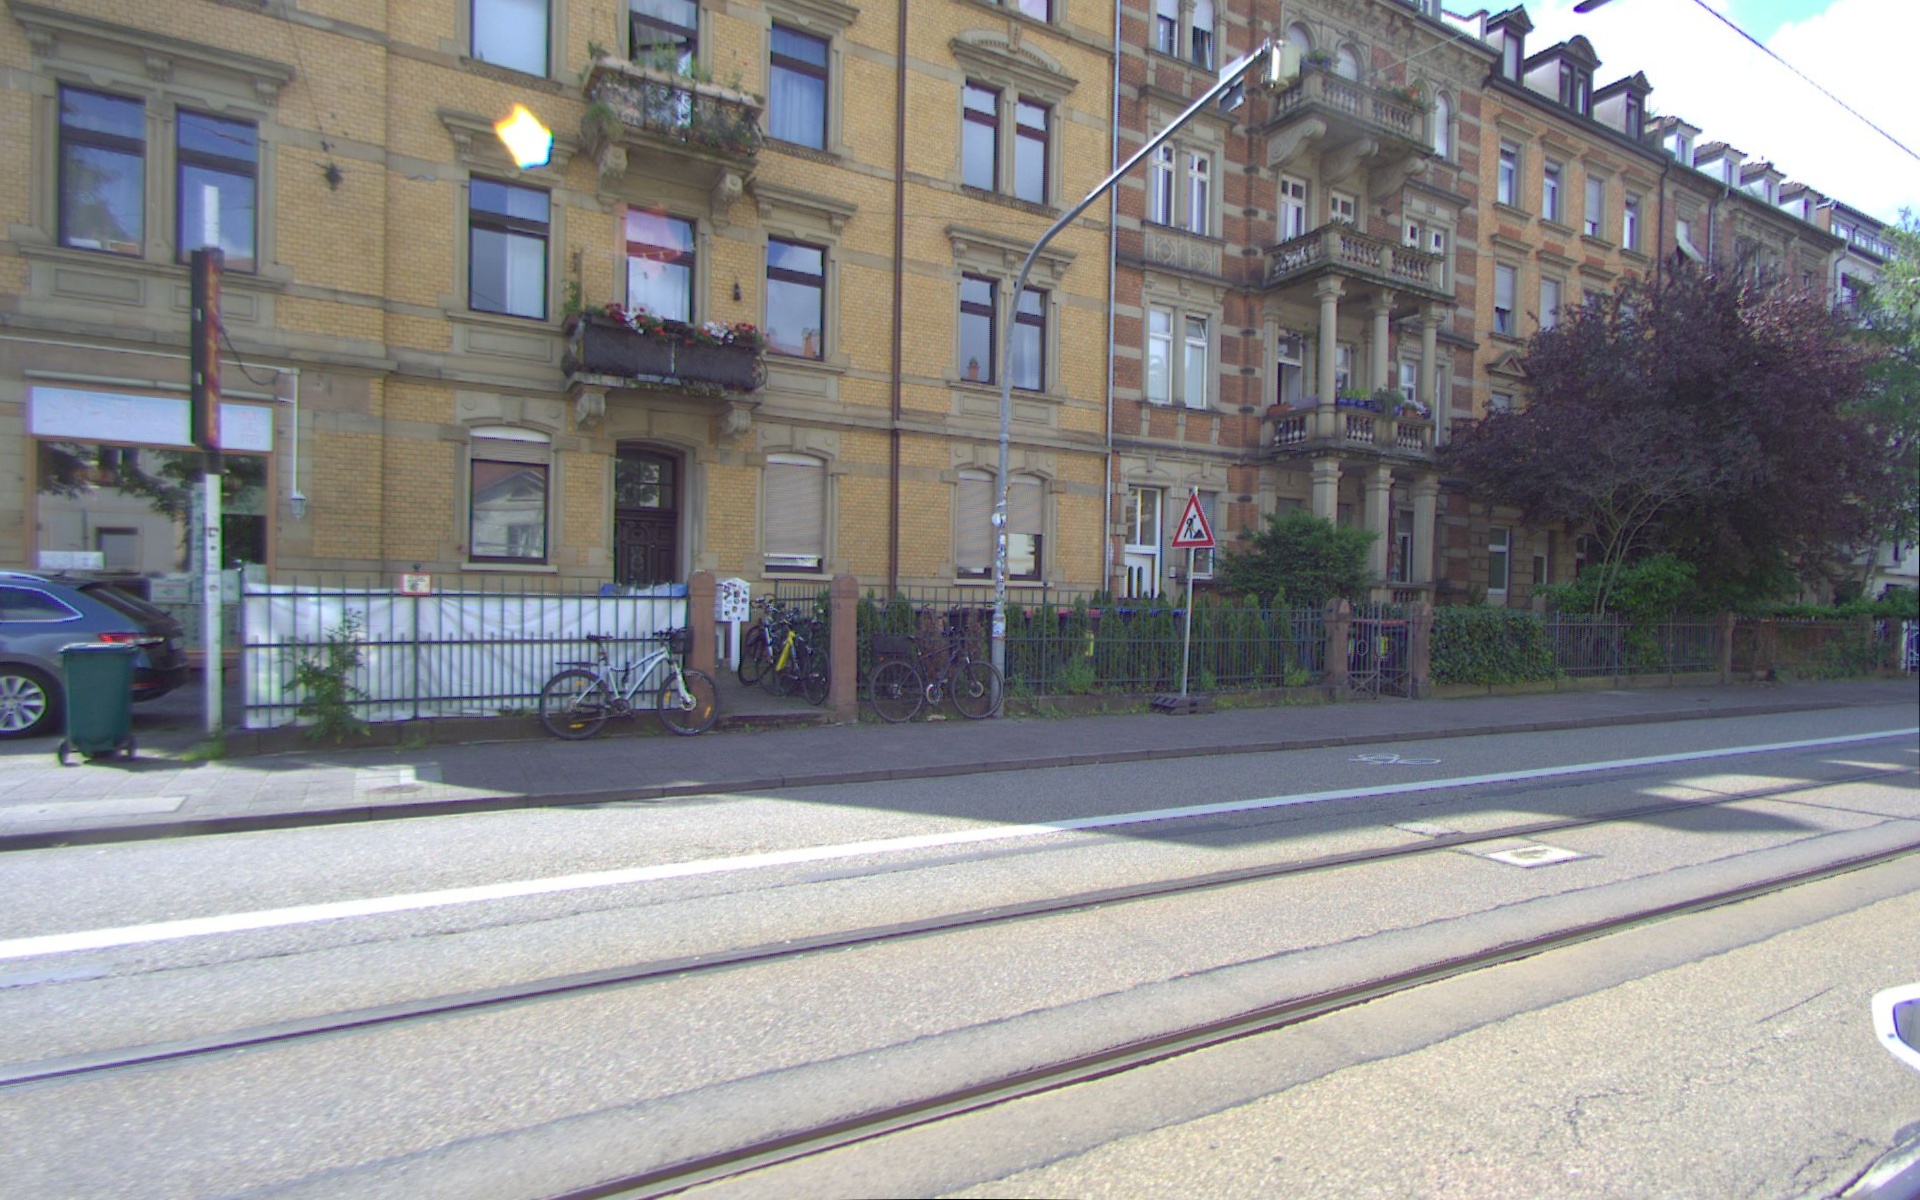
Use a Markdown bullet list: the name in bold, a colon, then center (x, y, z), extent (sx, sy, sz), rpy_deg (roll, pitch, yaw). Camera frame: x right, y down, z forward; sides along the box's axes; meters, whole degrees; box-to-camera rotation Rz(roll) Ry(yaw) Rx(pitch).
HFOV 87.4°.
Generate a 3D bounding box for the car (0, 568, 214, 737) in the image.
- **car**: center (-9.723, 0.438, 8.962), extent (4.708, 1.479, 1.677), rpy_deg (1, 0, -30)

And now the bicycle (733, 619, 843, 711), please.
- **bicycle**: center (-2.075, 0.725, 11.907), extent (0.526, 0.959, 1.949), rpy_deg (1, 0, -34)

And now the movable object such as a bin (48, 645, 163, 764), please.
- **movable object such as a bin**: center (-7.071, 0.847, 8.339), extent (0.629, 0.918, 0.522), rpy_deg (1, 0, -31)

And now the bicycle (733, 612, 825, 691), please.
- **bicycle**: center (-2.486, 0.668, 13.602), extent (0.526, 0.959, 1.950), rpy_deg (1, 0, -32)

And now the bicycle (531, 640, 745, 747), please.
- **bicycle**: center (-3.164, 0.891, 9.942), extent (1.945, 0.959, 0.527), rpy_deg (1, 0, -30)

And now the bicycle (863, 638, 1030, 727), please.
- **bicycle**: center (-0.141, 0.936, 11.759), extent (1.945, 0.959, 0.527), rpy_deg (1, 0, -30)
